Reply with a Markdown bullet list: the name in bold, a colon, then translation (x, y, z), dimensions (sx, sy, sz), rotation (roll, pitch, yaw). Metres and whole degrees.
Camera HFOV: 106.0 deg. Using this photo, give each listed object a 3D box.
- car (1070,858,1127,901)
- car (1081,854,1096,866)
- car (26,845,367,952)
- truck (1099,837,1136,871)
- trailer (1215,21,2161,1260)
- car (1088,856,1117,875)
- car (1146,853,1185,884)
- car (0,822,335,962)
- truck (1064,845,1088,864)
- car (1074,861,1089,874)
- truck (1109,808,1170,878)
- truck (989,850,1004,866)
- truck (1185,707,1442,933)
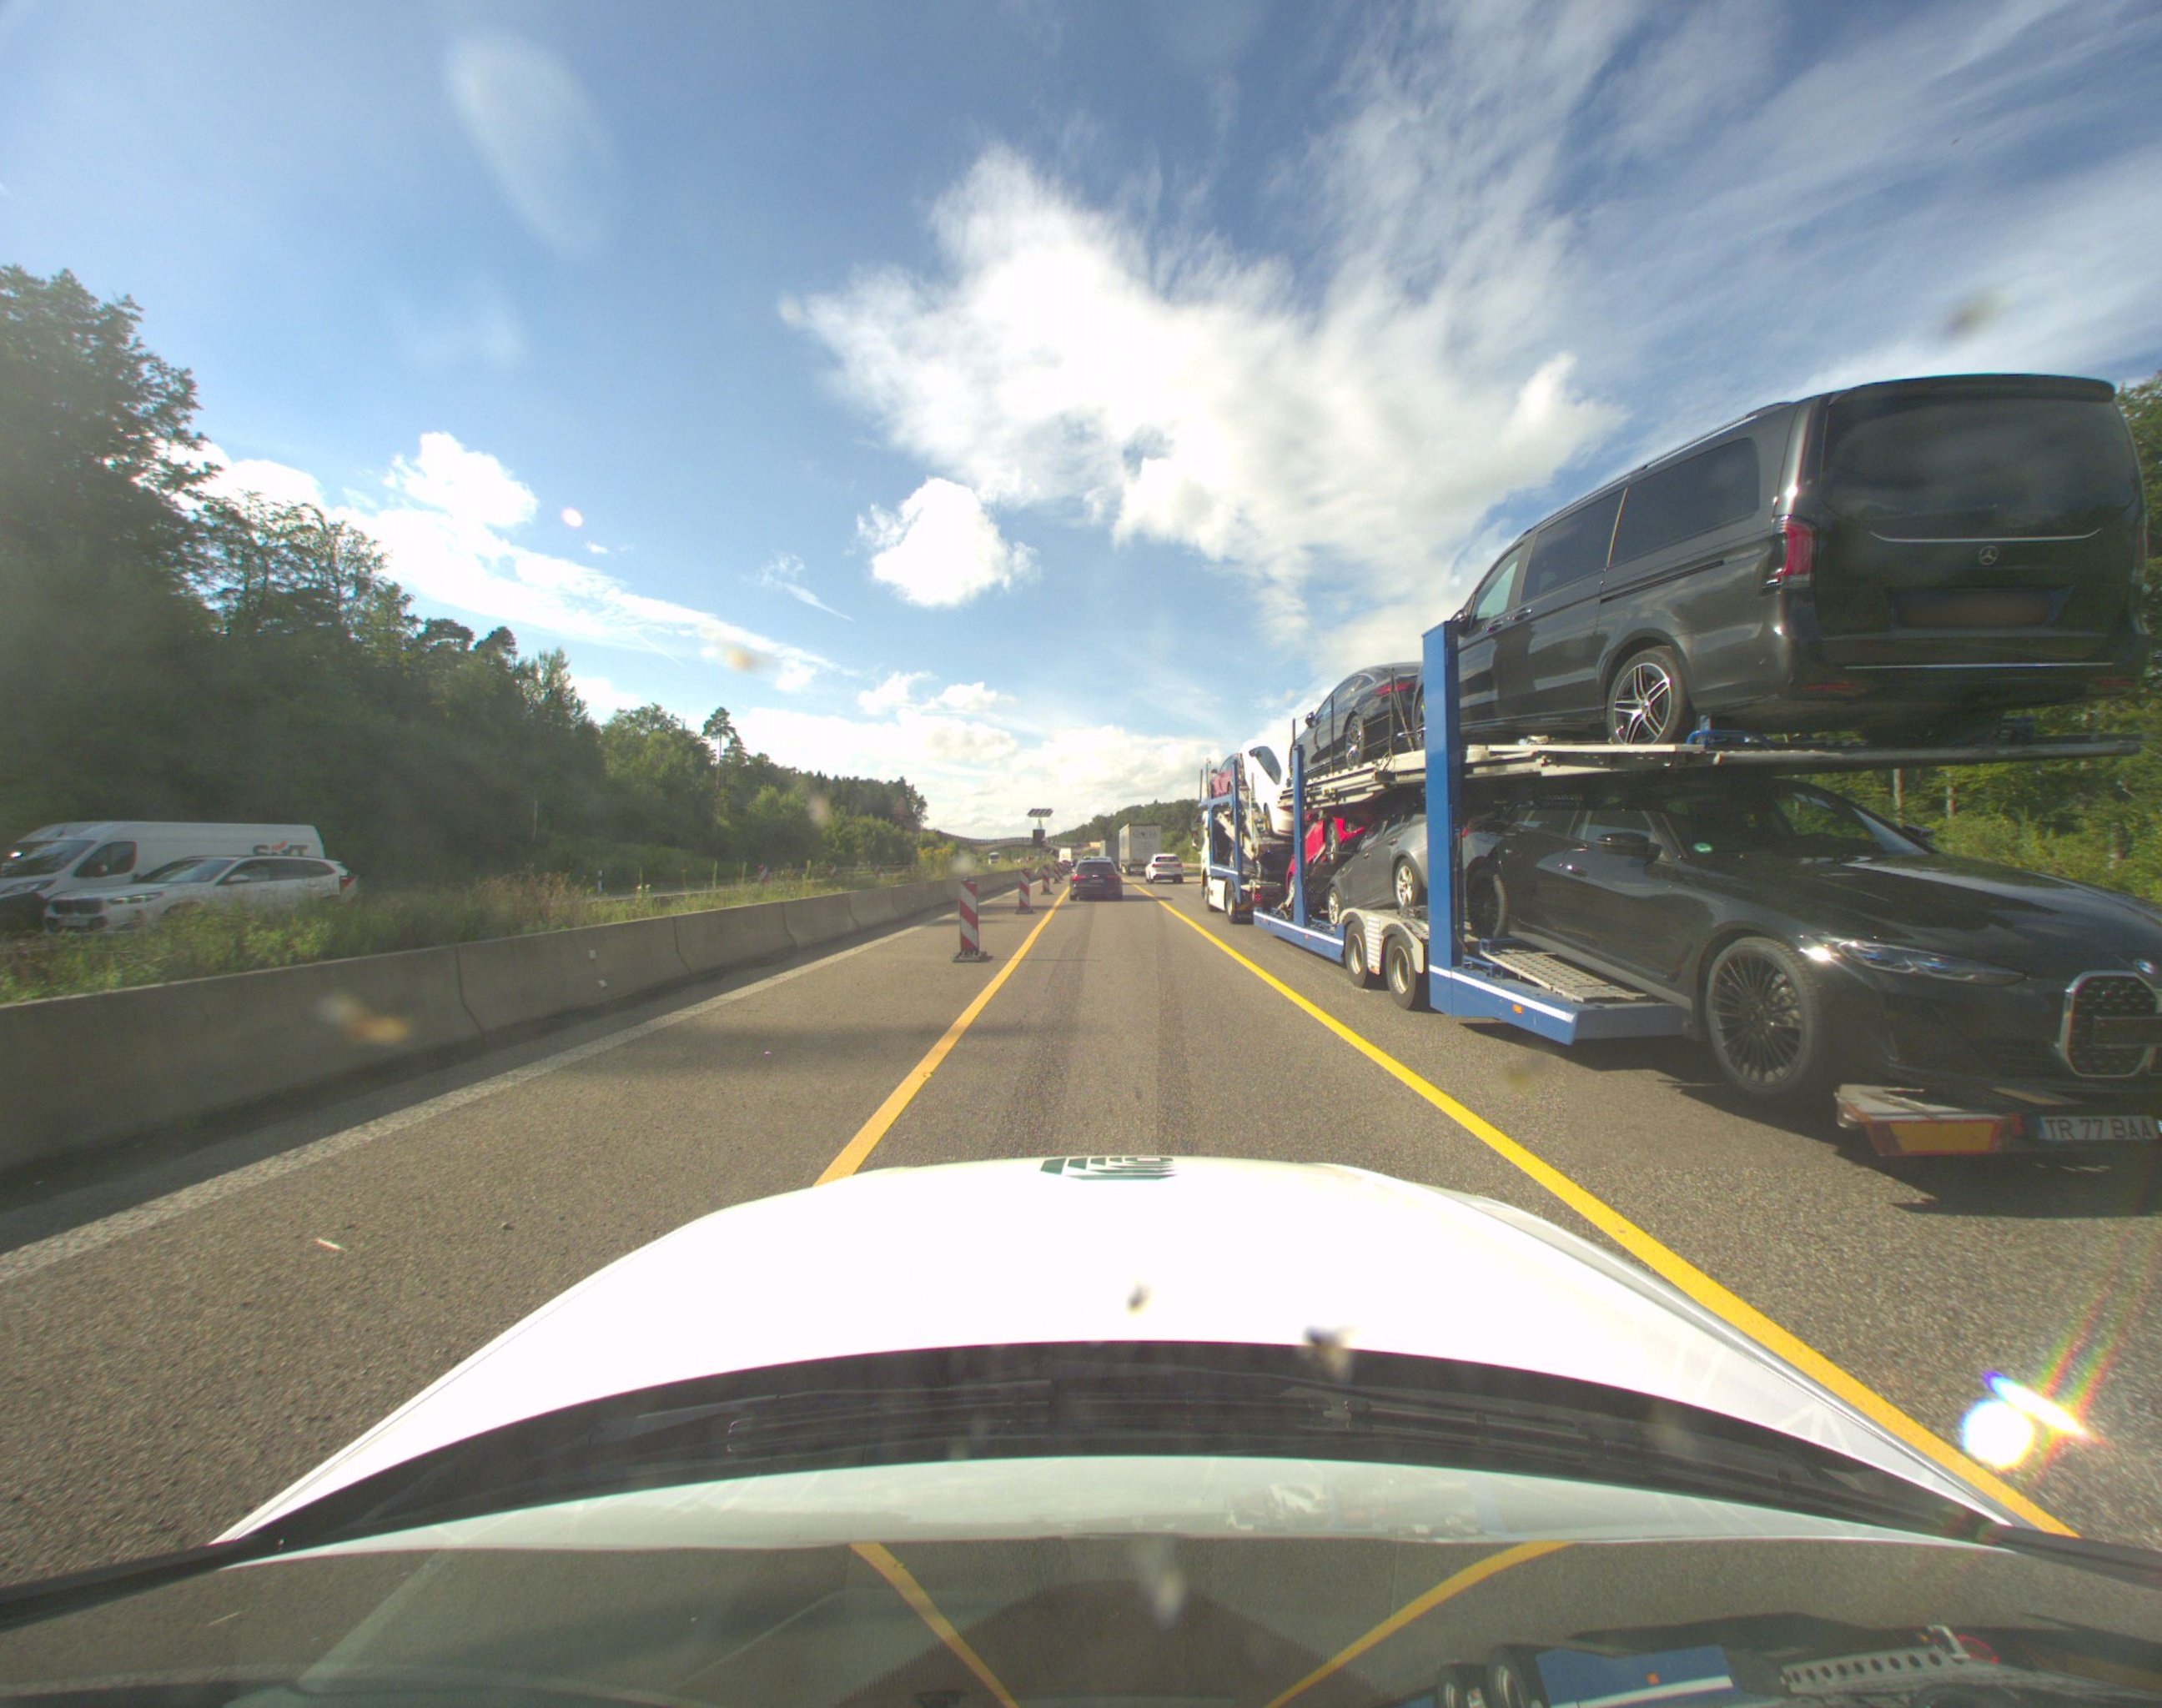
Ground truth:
- **car**: translation (0.654, 0.873, 29.454), dimensions (1.883, 1.446, 4.001), rotation (0, -1, 2)
- **car**: translation (0.981, 0.817, 108.433), dimensions (1.886, 1.643, 4.013), rotation (0, -1, -3)
- **car**: translation (-16.729, 0.762, 15.827), dimensions (1.771, 1.786, 4.366), rotation (0, -1, 2)
- **truck**: translation (5.063, 0.083, 116.178), dimensions (4.309, 4.600, 11.113), rotation (0, -1, -3)
- **trailer**: translation (4.897, -0.680, 10.867), dimensions (3.713, 4.196, 16.227), rotation (0, -1, 1)
- **car**: translation (1.624, 0.890, 62.741), dimensions (1.887, 1.446, 3.994), rotation (0, -1, -4)
- **car**: translation (4.751, 0.819, 46.251), dimensions (1.883, 1.643, 4.019), rotation (0, -1, 2)
- **car**: translation (-21.453, 0.764, 18.937), dimensions (2.020, 2.684, 6.525), rotation (0, -1, 2)
- **truck**: translation (-1.143, 0.233, 173.131), dimensions (3.652, 3.928, 11.034), rotation (0, -1, -8)
- **car**: translation (0.018, 2.040, 125.429), dimensions (1.990, 2.014, 3.994), rotation (0, -1, -4)
- **truck**: translation (4.806, -0.747, 70.631), dimensions (3.667, 5.353, 16.189), rotation (0, -1, -2)
- **truck**: translation (-18.748, 0.932, 181.282), dimensions (2.774, 3.490, 4.941), rotation (0, -1, 2)
- **truck**: translation (4.862, -0.610, 19.209), dimensions (3.749, 4.196, 7.949), rotation (0, -1, 0)
